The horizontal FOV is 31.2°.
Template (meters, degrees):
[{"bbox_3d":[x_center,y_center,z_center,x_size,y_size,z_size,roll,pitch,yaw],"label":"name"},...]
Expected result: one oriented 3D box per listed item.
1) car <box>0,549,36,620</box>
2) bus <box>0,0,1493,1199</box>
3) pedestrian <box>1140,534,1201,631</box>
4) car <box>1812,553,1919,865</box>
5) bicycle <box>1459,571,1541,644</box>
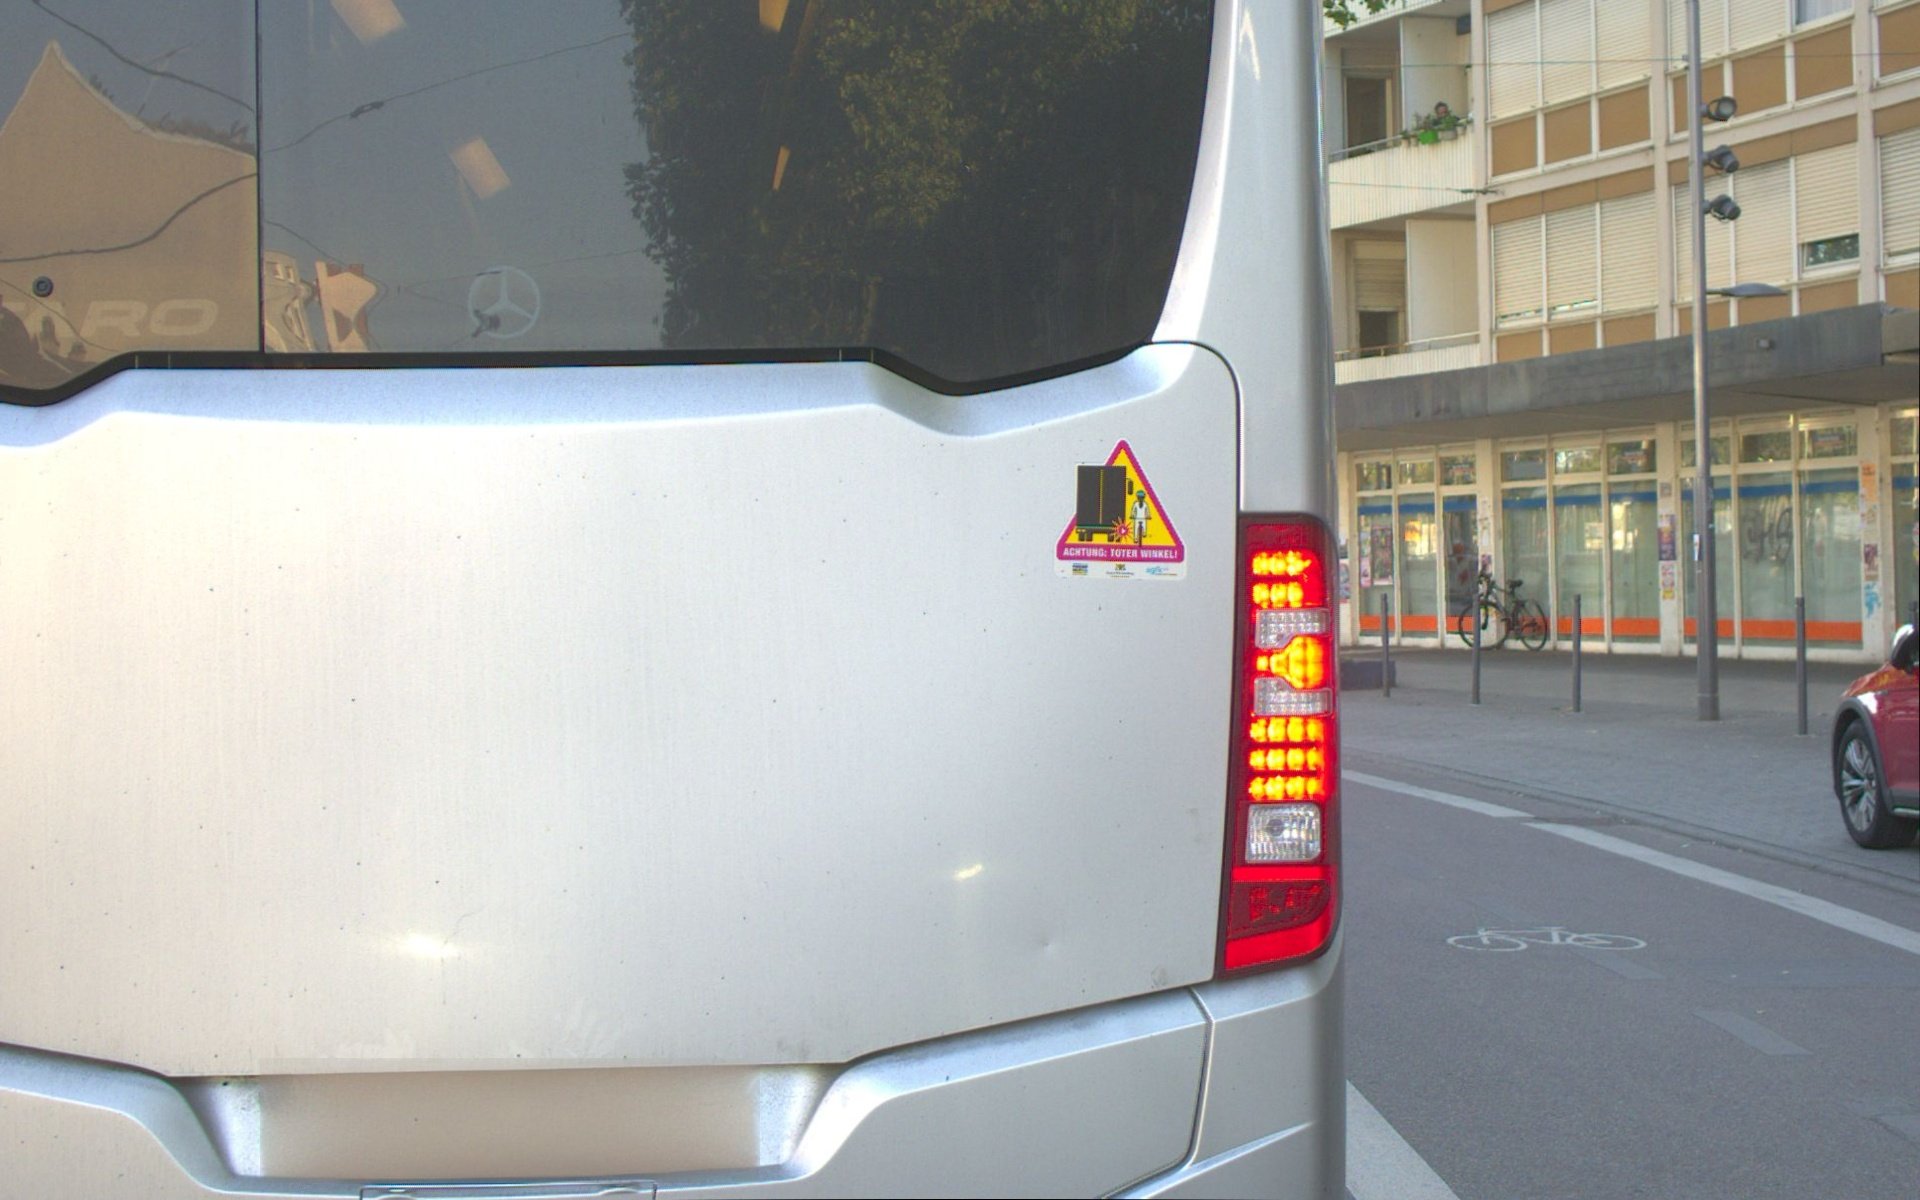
[{"bbox_3d":[-25.451,-0.408,87.884,1.994,1.785,3.998,1,0,-41],"label":"car"},{"bbox_3d":[-0.768,-0.140,9.809,2.630,3.017,9.998,0,1,-2],"label":"bus"},{"bbox_3d":[3.470,-0.291,56.759,0.782,1.592,0.629,-1,1,-20],"label":"pedestrian"},{"bbox_3d":[5.514,0.507,15.865,1.769,1.477,4.304,-2,1,-4],"label":"car"},{"bbox_3d":[7.159,0.090,45.612,0.412,0.941,1.441,-1,1,-20],"label":"bicycle"}]
